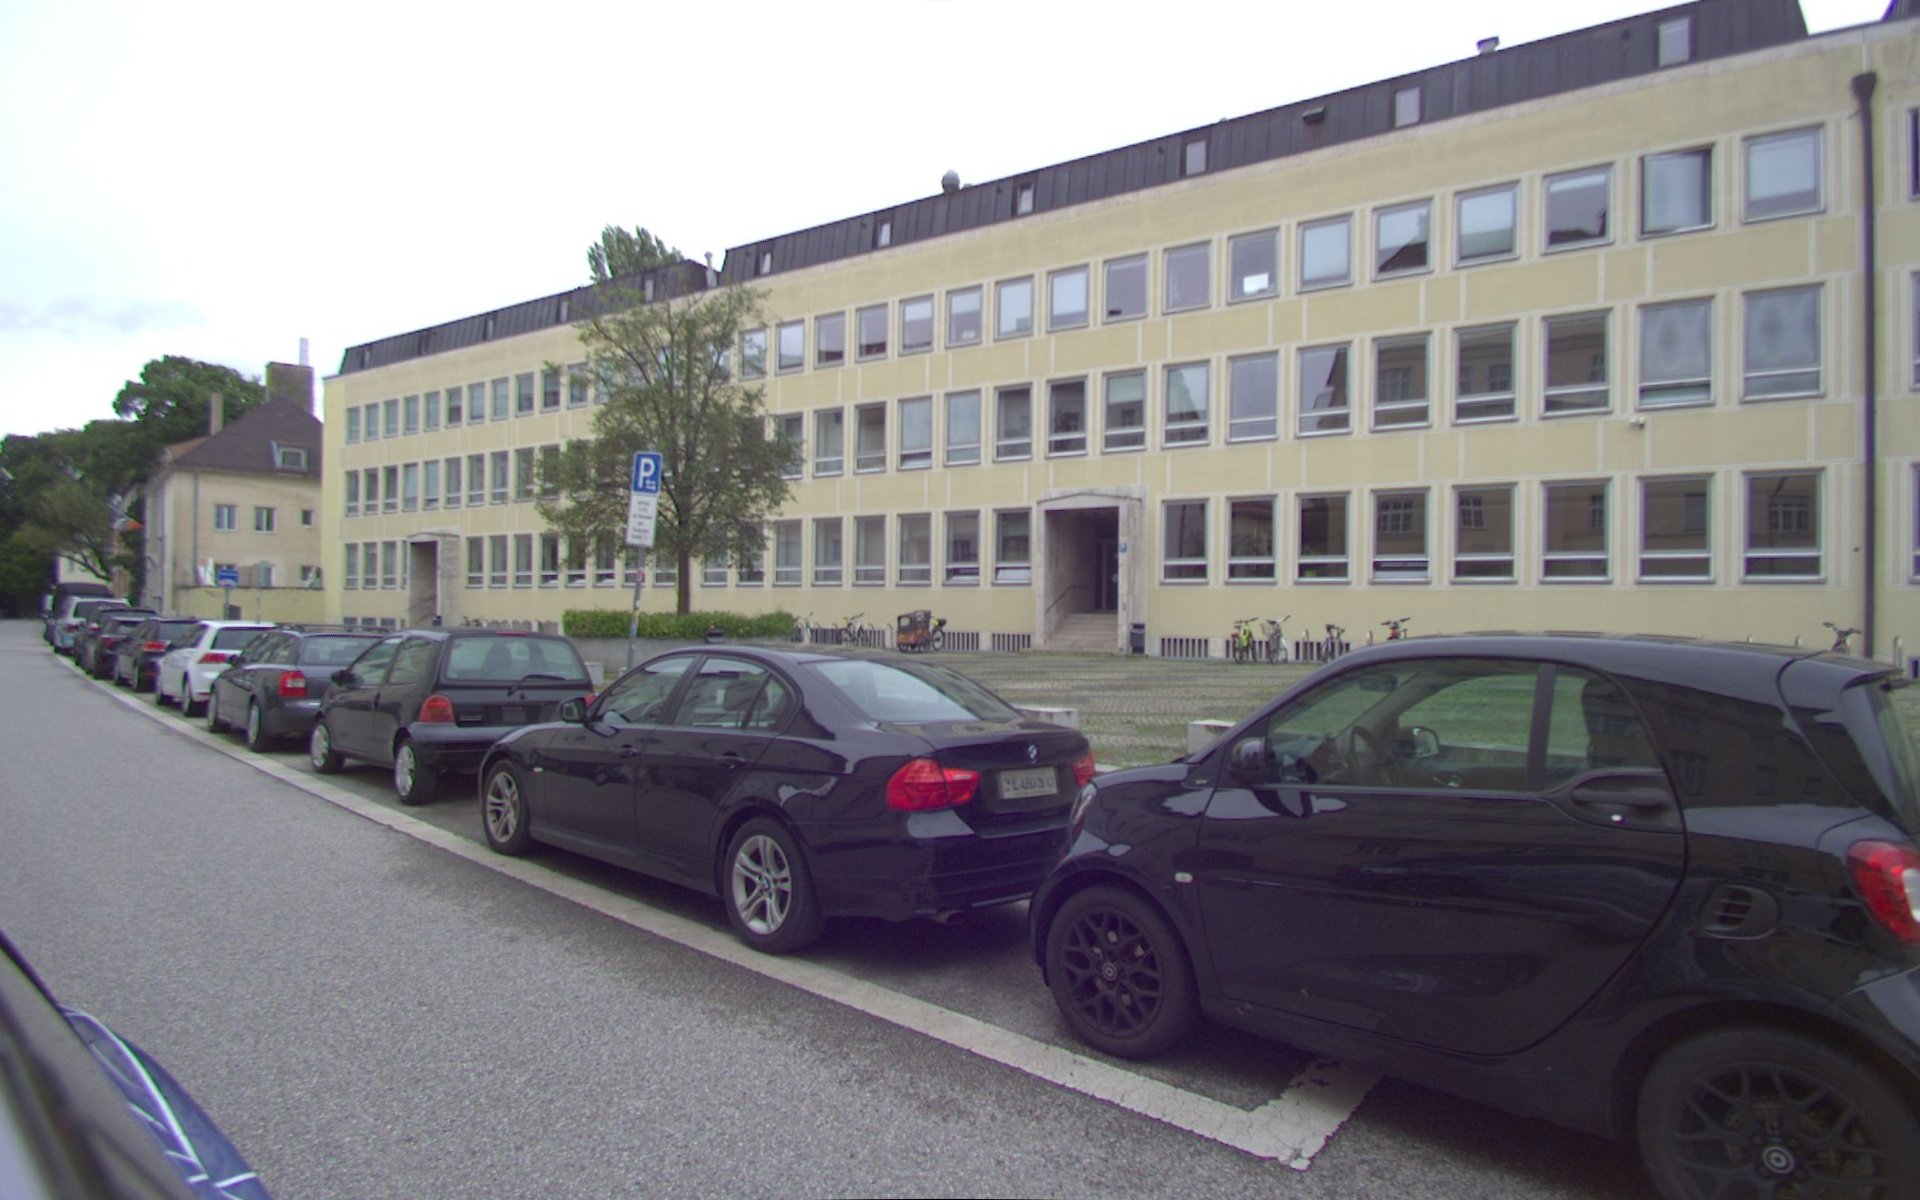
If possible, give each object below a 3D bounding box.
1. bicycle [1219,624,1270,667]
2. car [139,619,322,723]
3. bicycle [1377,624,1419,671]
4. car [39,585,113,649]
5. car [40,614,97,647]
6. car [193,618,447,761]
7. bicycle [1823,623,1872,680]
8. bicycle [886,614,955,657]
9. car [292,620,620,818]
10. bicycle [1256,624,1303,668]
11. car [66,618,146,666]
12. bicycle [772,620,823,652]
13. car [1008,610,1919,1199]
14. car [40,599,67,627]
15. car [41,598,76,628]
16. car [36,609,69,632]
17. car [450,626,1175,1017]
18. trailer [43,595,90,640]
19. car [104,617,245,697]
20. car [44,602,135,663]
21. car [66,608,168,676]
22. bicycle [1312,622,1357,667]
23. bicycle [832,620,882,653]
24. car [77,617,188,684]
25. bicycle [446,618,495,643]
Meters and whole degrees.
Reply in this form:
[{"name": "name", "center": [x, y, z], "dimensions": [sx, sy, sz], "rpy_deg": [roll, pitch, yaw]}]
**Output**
[{"name": "bicycle", "center": [7.113, 1.113, 25.232], "dimensions": [0.624, 1.022, 1.929], "rpy_deg": [-1, -1, 35]}, {"name": "car", "center": [-11.934, 1.080, 16.464], "dimensions": [4.073, 1.465, 1.638], "rpy_deg": [-1, -3, 43]}, {"name": "bicycle", "center": [10.195, 1.081, 23.524], "dimensions": [0.623, 1.022, 1.931], "rpy_deg": [-1, -1, 32]}, {"name": "car", "center": [-39.411, 0.767, 45.078], "dimensions": [2.269, 2.666, 5.660], "rpy_deg": [3, -2, -42]}, {"name": "car", "center": [-42.945, 1.456, 48.726], "dimensions": [3.489, 1.505, 1.683], "rpy_deg": [0, -1, 42]}, {"name": "car", "center": [-8.091, 0.985, 12.614], "dimensions": [1.734, 1.465, 4.398], "rpy_deg": [4, -3, -45]}, {"name": "bicycle", "center": [17.197, 0.976, 19.635], "dimensions": [0.625, 1.022, 1.927], "rpy_deg": [-1, -1, 39]}, {"name": "bicycle", "center": [-1.183, 1.069, 31.007], "dimensions": [1.052, 1.258, 2.418], "rpy_deg": [-1, -1, 29]}, {"name": "car", "center": [-4.742, 0.950, 9.354], "dimensions": [3.312, 1.465, 1.638], "rpy_deg": [-1, -3, 43]}, {"name": "bicycle", "center": [7.875, 1.109, 24.901], "dimensions": [0.623, 1.022, 1.931], "rpy_deg": [-1, -1, 32]}, {"name": "car", "center": [-27.120, 1.278, 32.098], "dimensions": [1.723, 1.398, 3.922], "rpy_deg": [0, 0, -44]}, {"name": "bicycle", "center": [-5.385, 1.175, 33.709], "dimensions": [0.623, 1.022, 1.934], "rpy_deg": [-1, -1, 29]}, {"name": "car", "center": [1.850, 0.822, 3.429], "dimensions": [2.976, 1.513, 1.653], "rpy_deg": [0, -3, 40]}, {"name": "car", "center": [-87.266, 1.254, 97.450], "dimensions": [1.853, 2.573, 4.376], "rpy_deg": [1, -1, -42]}, {"name": "car", "center": [-76.029, 1.089, 85.386], "dimensions": [2.073, 2.450, 4.556], "rpy_deg": [1, -1, -41]}, {"name": "car", "center": [-69.376, 1.558, 77.363], "dimensions": [1.791, 1.747, 3.653], "rpy_deg": [1, -1, -43]}, {"name": "car", "center": [-1.157, 0.906, 5.969], "dimensions": [4.454, 1.416, 1.780], "rpy_deg": [-1, -3, 42]}, {"name": "trailer", "center": [-53.932, 1.050, 61.132], "dimensions": [1.790, 2.555, 3.395], "rpy_deg": [5, -4, -38]}, {"name": "car", "center": [-16.091, 1.114, 20.674], "dimensions": [3.975, 1.465, 1.638], "rpy_deg": [-1, -3, 43]}, {"name": "car", "center": [-30.516, 1.089, 35.423], "dimensions": [5.024, 1.994, 1.906], "rpy_deg": [0, -2, 44]}, {"name": "car", "center": [-23.338, 1.133, 27.954], "dimensions": [1.723, 1.679, 4.452], "rpy_deg": [6, -4, -44]}, {"name": "bicycle", "center": [9.081, 1.063, 24.508], "dimensions": [0.623, 1.022, 1.931], "rpy_deg": [-1, -1, 32]}, {"name": "bicycle", "center": [-3.294, 1.154, 32.565], "dimensions": [0.623, 1.022, 1.934], "rpy_deg": [-1, -1, 29]}, {"name": "car", "center": [-19.882, 1.161, 24.257], "dimensions": [1.661, 1.465, 3.872], "rpy_deg": [4, -3, -44]}, {"name": "bicycle", "center": [-21.306, 1.310, 44.082], "dimensions": [0.578, 1.022, 1.934], "rpy_deg": [-1, 0, 29]}]
